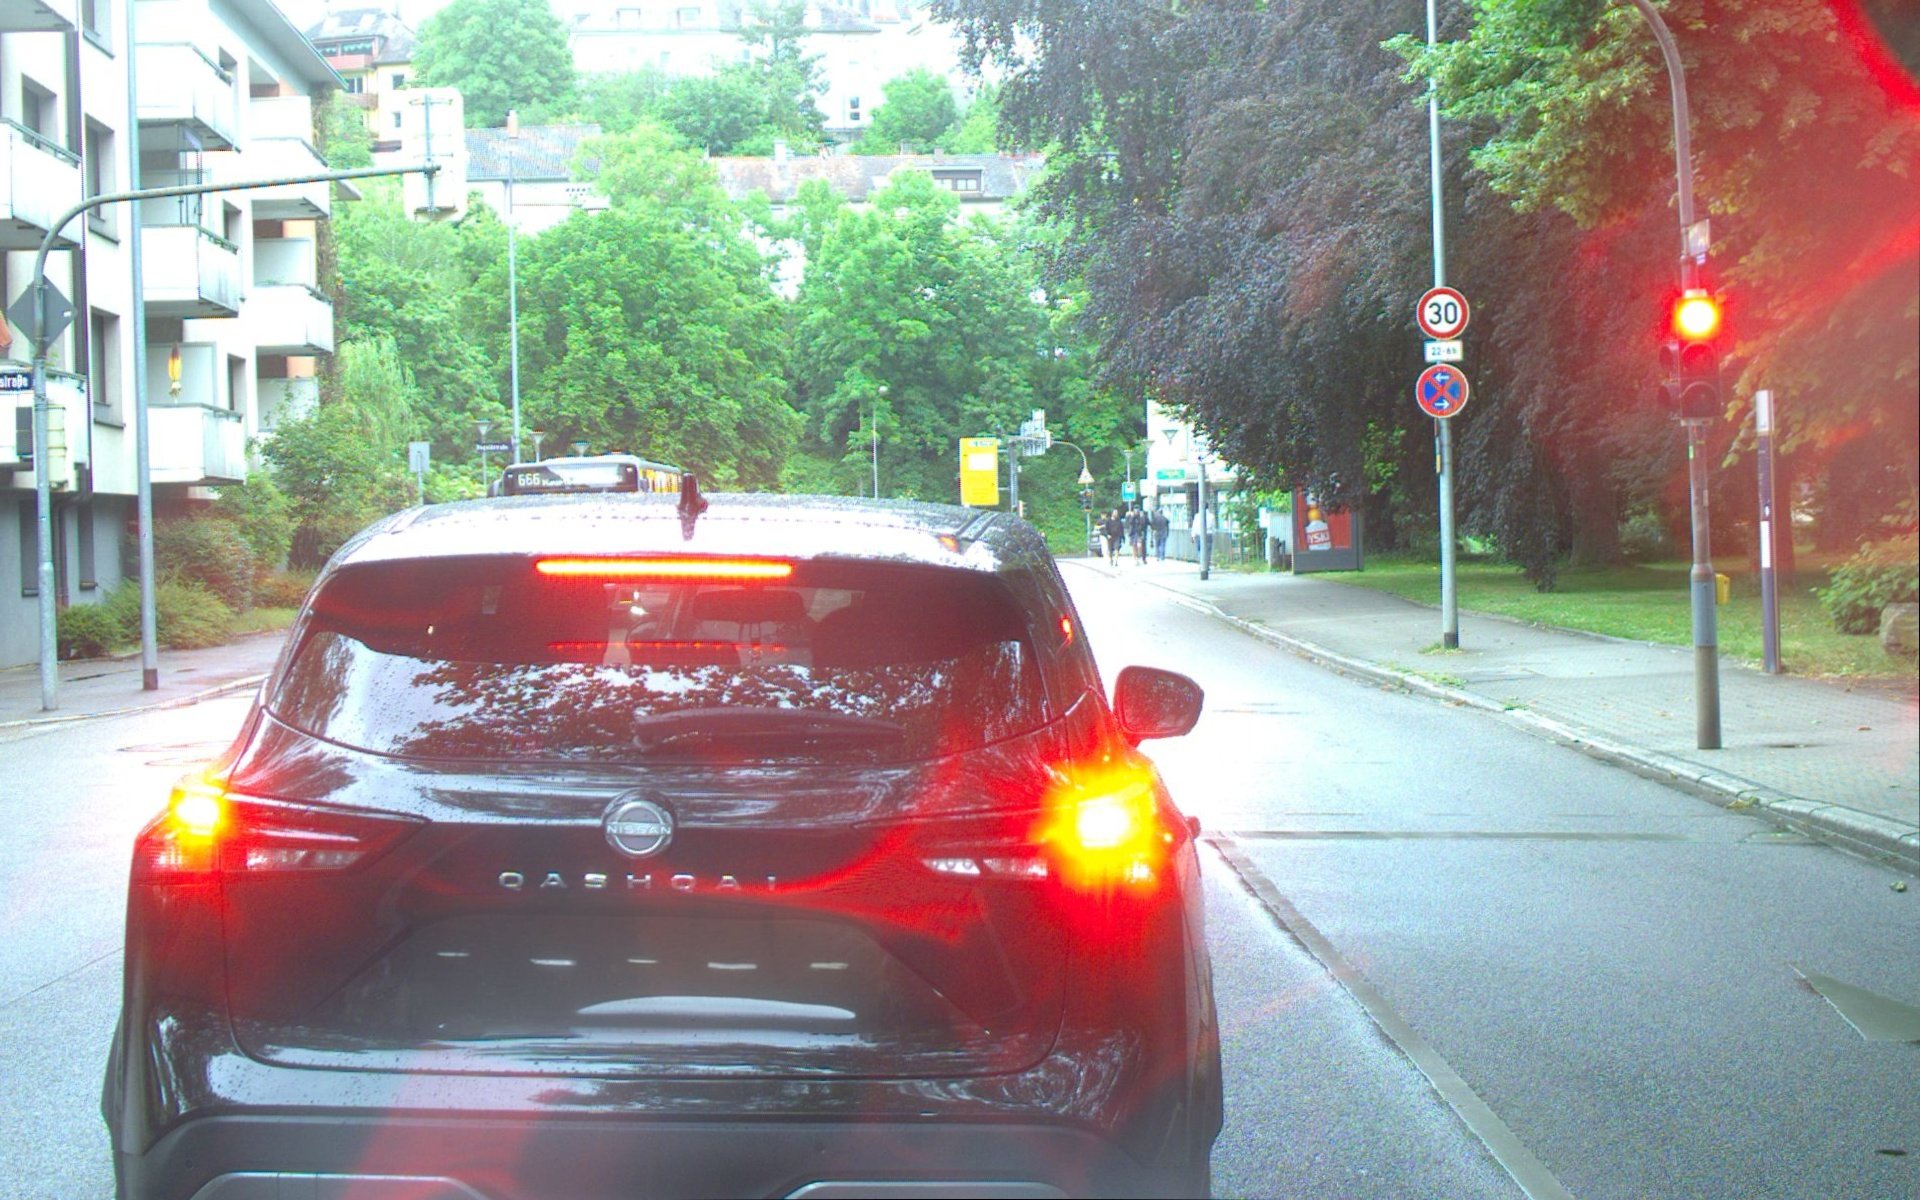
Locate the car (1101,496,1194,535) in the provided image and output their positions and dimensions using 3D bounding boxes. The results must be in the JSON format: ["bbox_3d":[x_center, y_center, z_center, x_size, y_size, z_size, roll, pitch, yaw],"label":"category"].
[{"bbox_3d":[8.952,-4.020,164.141,3.986,1.678,2.001,-2,1,-10],"label":"car"}]

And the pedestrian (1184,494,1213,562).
[{"bbox_3d":[6.281,-1.892,90.574,0.618,1.773,0.778,-2,1,-1],"label":"pedestrian"}]

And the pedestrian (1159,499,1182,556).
[{"bbox_3d":[6.661,-2.306,108.936,0.618,1.773,0.551,-2,1,-1],"label":"pedestrian"}]

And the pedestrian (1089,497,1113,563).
[{"bbox_3d":[4.678,-2.316,114.005,0.768,2.176,0.711,1,0,3],"label":"pedestrian"}]

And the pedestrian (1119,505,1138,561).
[{"bbox_3d":[4.980,-1.978,101.741,0.514,1.650,0.550,1,0,-1],"label":"pedestrian"}]

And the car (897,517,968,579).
[{"bbox_3d":[-0.655,-1.262,83.161,1.624,1.410,3.455,-2,1,0],"label":"car"}]

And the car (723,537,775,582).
[{"bbox_3d":[-7.553,-1.464,123.263,1.676,1.464,4.217,-3,1,-2],"label":"car"}]

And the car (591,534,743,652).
[{"bbox_3d":[-3.765,-0.122,44.654,1.624,1.410,3.455,-2,1,0],"label":"car"}]

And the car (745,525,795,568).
[{"bbox_3d":[-7.542,-2.126,136.686,1.750,1.628,3.635,-2,1,0],"label":"car"}]

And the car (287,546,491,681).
[{"bbox_3d":[-6.746,0.122,40.989,1.808,1.412,4.031,-3,1,-2],"label":"car"}]

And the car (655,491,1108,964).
[{"bbox_3d":[-0.259,0.437,14.680,1.622,1.703,3.771,-2,1,1],"label":"car"}]

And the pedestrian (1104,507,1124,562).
[{"bbox_3d":[4.614,-1.976,103.211,0.544,1.645,0.490,1,0,0],"label":"pedestrian"}]

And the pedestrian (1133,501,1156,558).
[{"bbox_3d":[5.826,-2.229,108.362,0.618,1.773,0.551,-2,1,-1],"label":"pedestrian"}]

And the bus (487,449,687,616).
[{"bbox_3d":[-7.254,-1.318,68.497,2.766,2.964,11.782,-2,1,-1],"label":"bus"}]

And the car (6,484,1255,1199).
[{"bbox_3d":[-0.506,0.616,7.014,1.806,1.584,4.000,1,1,-1],"label":"car"}]

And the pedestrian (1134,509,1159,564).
[{"bbox_3d":[5.614,-1.911,103.287,0.699,1.645,0.628,1,0,0],"label":"pedestrian"}]

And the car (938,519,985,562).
[{"bbox_3d":[0.050,-2.379,136.256,1.750,1.628,3.635,-2,1,0],"label":"car"}]

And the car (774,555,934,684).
[{"bbox_3d":[-1.265,0.192,41.043,1.808,1.412,4.031,0,1,-2],"label":"car"}]
